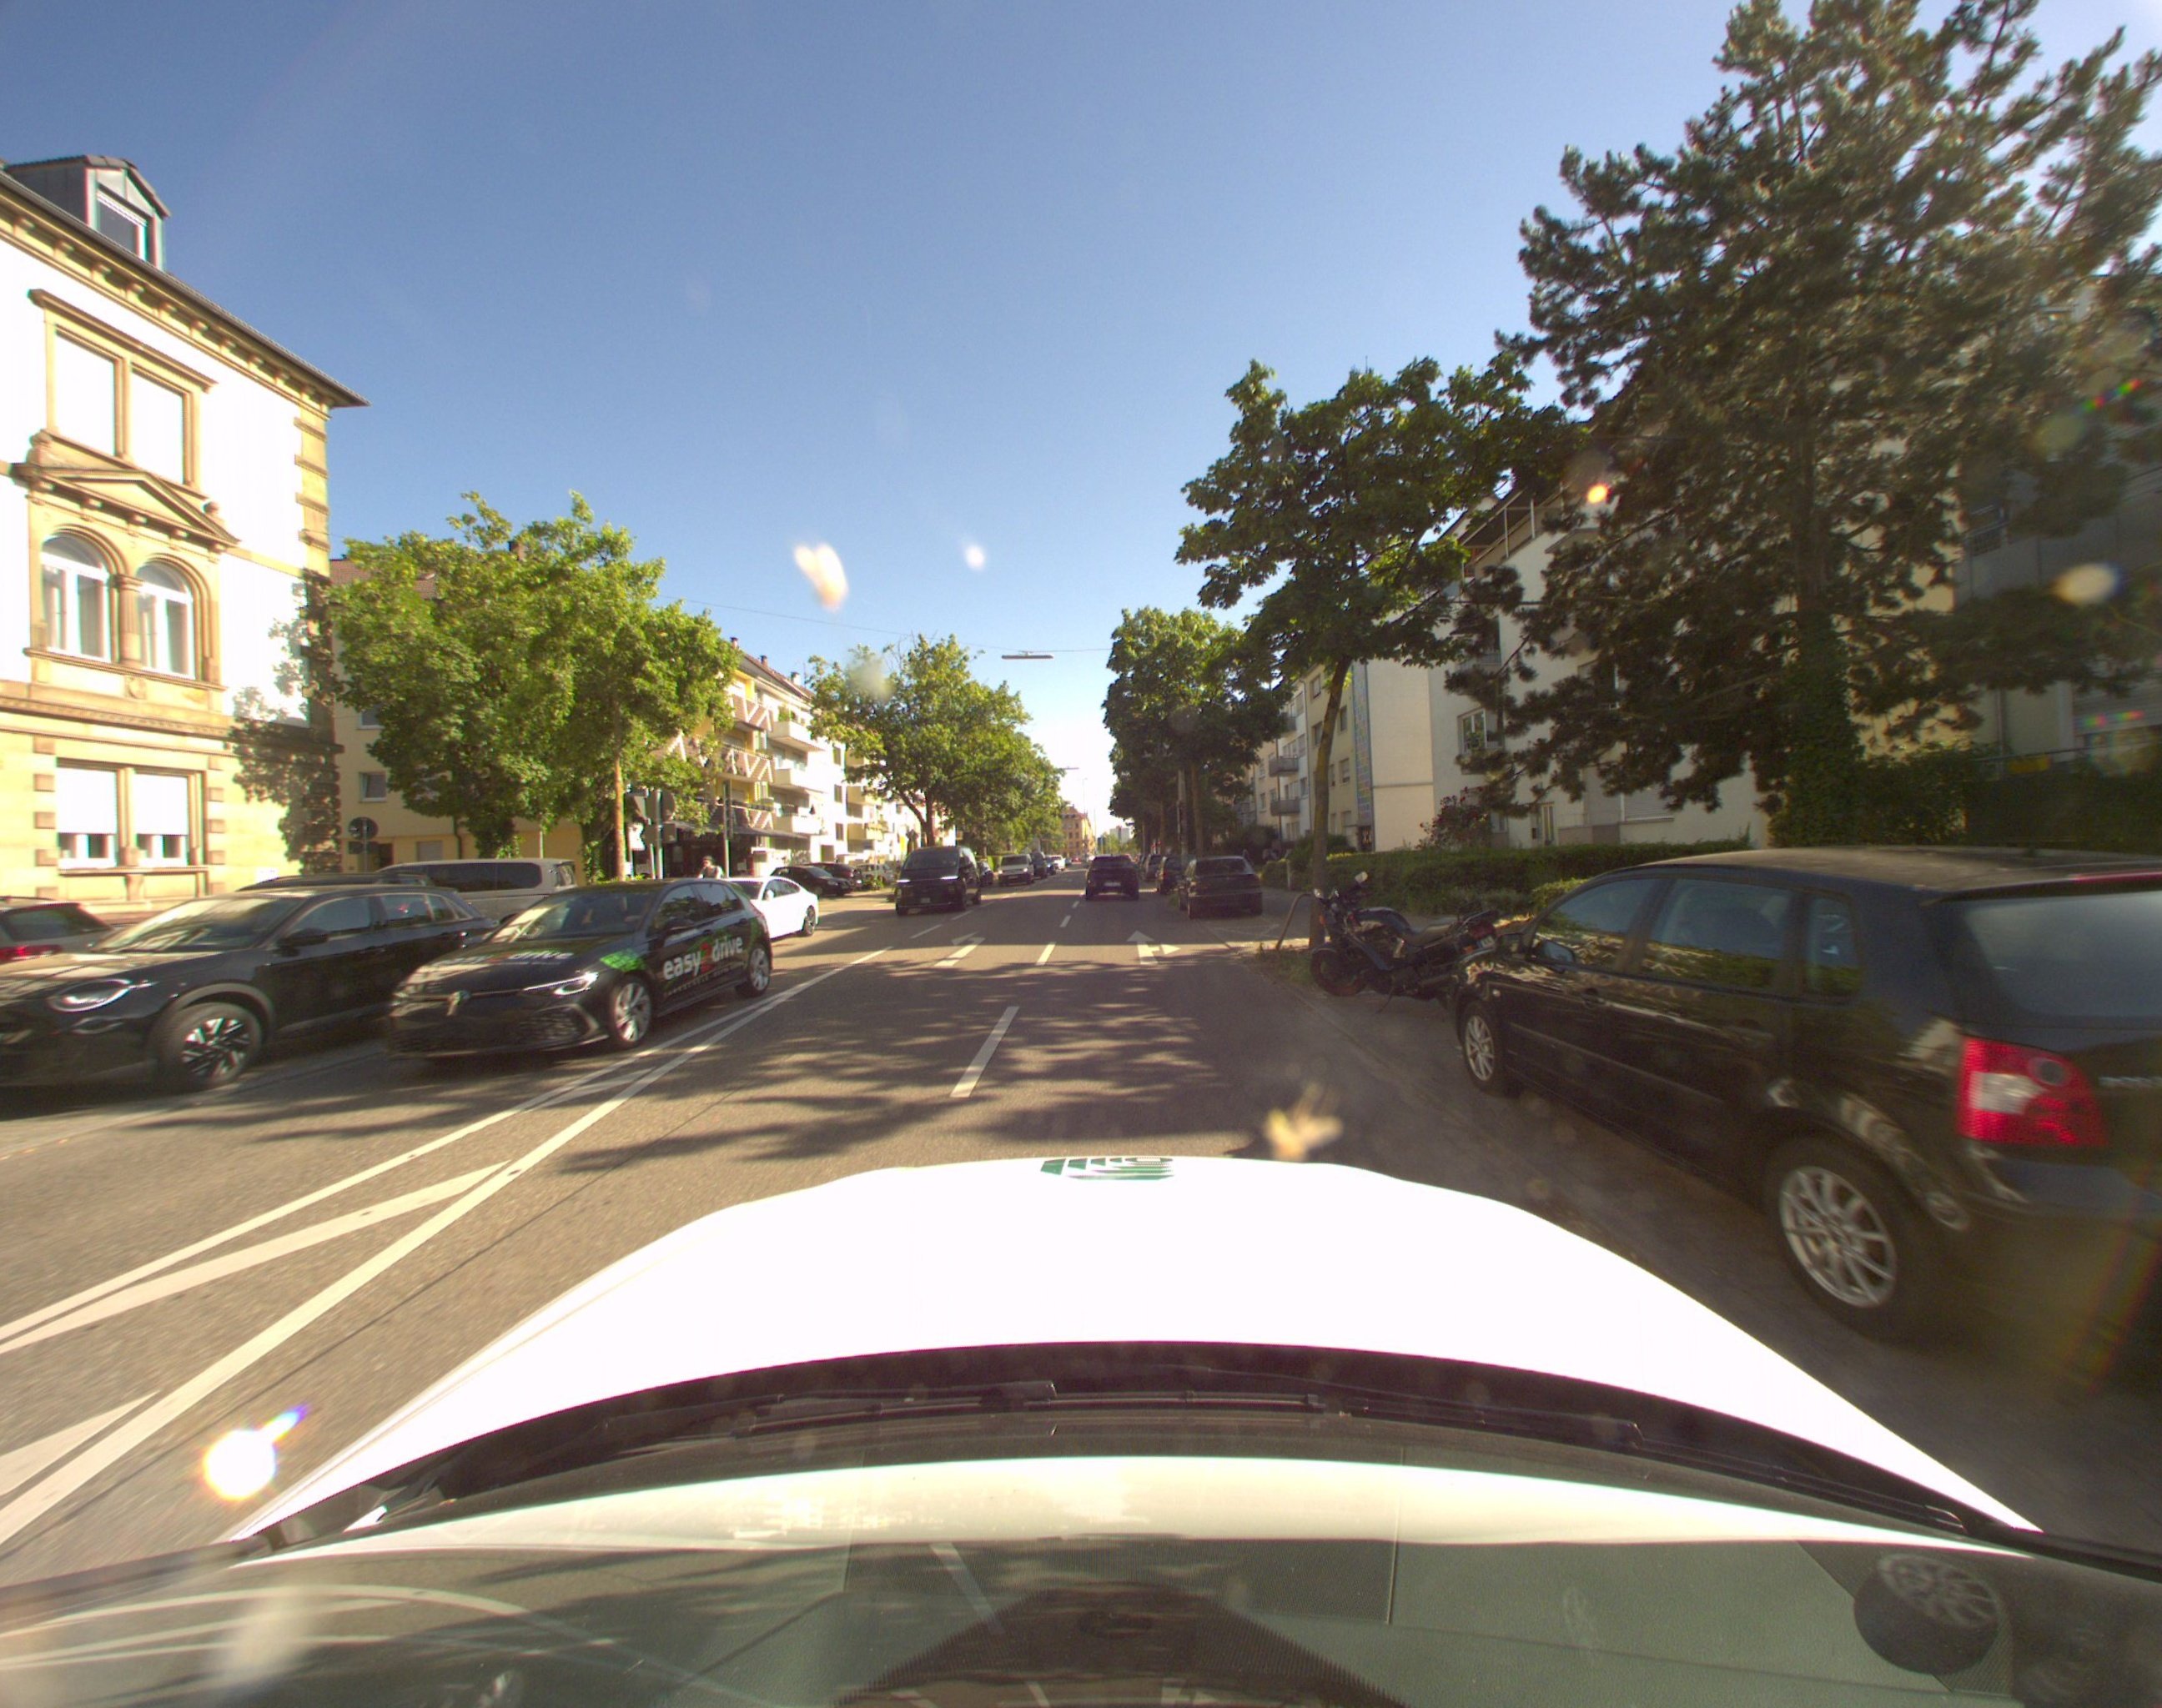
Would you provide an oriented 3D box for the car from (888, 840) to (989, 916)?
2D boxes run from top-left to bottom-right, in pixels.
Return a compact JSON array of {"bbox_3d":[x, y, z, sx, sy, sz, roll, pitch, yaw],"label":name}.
[{"bbox_3d":[-4.254,0.660,25.186,2.009,1.952,5.179,-4,0,1],"label":"car"}]

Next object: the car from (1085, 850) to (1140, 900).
[{"bbox_3d":[1.079,0.687,28.065,1.739,1.573,3.559,-1,0,2],"label":"car"}]

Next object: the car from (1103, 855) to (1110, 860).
[{"bbox_3d":[6.905,0.964,220.076,1.985,1.519,4.004,0,0,3],"label":"car"}]

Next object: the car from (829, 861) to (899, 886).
[{"bbox_3d":[-13.987,1.246,52.617,3.973,1.486,1.881,-1,0,1],"label":"car"}]

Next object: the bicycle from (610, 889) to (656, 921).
[{"bbox_3d":[-15.514,1.756,28.245,0.400,0.960,1.763,-3,1,8],"label":"bicycle"}]

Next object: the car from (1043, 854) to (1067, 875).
[{"bbox_3d":[-2.160,0.857,68.625,1.713,1.566,4.344,-5,0,1],"label":"car"}]

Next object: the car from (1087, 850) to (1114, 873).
[{"bbox_3d":[1.433,0.509,58.885,1.823,1.578,3.842,-2,0,2],"label":"car"}]

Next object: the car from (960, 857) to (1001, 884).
[{"bbox_3d":[-6.031,0.977,49.383,1.715,1.536,4.682,-1,0,2],"label":"car"}]

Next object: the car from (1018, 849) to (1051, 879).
[{"bbox_3d":[-3.273,0.693,57.852,1.796,1.910,4.713,-5,0,2],"label":"car"}]

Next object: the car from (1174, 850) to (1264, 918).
[{"bbox_3d":[3.305,0.660,20.217,1.580,1.396,4.457,-4,0,2],"label":"car"}]

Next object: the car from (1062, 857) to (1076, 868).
[{"bbox_3d":[-1.748,1.195,117.937,1.731,1.381,3.937,-4,0,1],"label":"car"}]

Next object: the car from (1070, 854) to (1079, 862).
[{"bbox_3d":[-1.436,0.875,177.965,1.784,1.617,4.003,-2,0,2],"label":"car"}]

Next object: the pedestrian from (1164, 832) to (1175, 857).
[{"bbox_3d":[6.143,-0.636,56.678,0.667,1.682,0.776,-3,0,1],"label":"pedestrian"}]

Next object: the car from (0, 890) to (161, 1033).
[{"bbox_3d":[-13.516,1.265,9.095,3.929,1.488,1.618,-1,0,-27],"label":"car"}]

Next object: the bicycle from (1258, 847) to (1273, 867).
[{"bbox_3d":[12.592,0.187,55.616,0.620,1.287,1.843,-5,0,2],"label":"bicycle"}]

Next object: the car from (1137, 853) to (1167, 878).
[{"bbox_3d":[4.331,0.676,49.973,1.605,1.383,3.978,-3,0,2],"label":"car"}]

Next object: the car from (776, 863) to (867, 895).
[{"bbox_3d":[-13.028,1.243,40.980,3.962,1.461,1.738,-1,0,10],"label":"car"}]

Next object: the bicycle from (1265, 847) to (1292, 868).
[{"bbox_3d":[13.080,0.230,53.961,1.520,1.222,0.466,-5,0,32],"label":"bicycle"}]

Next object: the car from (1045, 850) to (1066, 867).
[{"bbox_3d":[-2.594,0.446,83.529,1.800,1.648,4.673,-4,0,1],"label":"car"}]

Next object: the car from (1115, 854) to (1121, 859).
[{"bbox_3d":[11.123,0.810,244.879,1.985,1.519,4.004,0,0,3],"label":"car"}]

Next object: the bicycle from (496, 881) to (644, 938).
[{"bbox_3d":[-13.217,1.408,21.196,3.187,1.262,0.942,-1,-2,-33],"label":"bicycle"}]

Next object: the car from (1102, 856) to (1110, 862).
[{"bbox_3d":[6.412,1.247,206.026,1.802,1.407,4.005,-2,0,4],"label":"car"}]

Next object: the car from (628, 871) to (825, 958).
[{"bbox_3d":[-7.023,1.118,16.794,1.827,1.389,4.804,-1,0,1],"label":"car"}]

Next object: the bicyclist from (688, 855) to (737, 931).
[{"bbox_3d":[-9.247,0.950,20.473,0.656,1.824,1.055,-3,0,2],"label":"bicyclist"}]

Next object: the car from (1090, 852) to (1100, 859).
[{"bbox_3d":[3.009,0.347,174.420,1.764,1.452,3.888,-2,0,3],"label":"car"}]

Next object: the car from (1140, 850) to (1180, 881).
[{"bbox_3d":[4.216,0.590,44.096,1.708,1.489,4.234,-3,0,0],"label":"car"}]

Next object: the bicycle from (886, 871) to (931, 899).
[{"bbox_3d":[-7.054,1.259,33.241,1.912,1.135,0.465,-1,0,29],"label":"bicycle"}]

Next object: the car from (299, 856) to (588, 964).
[{"bbox_3d":[-12.892,1.046,16.860,4.334,1.879,1.865,-1,0,-24],"label":"car"}]

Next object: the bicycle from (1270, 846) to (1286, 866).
[{"bbox_3d":[13.383,0.122,55.320,0.589,1.287,1.690,-5,0,2],"label":"bicycle"}]

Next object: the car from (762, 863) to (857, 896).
[{"bbox_3d":[-12.816,1.204,38.477,3.954,1.456,1.742,-1,0,19],"label":"car"}]

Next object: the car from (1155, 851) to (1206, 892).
[{"bbox_3d":[3.769,0.627,31.329,1.684,1.428,4.152,-3,0,4],"label":"car"}]

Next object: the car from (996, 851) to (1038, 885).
[{"bbox_3d":[-3.617,0.790,46.869,1.809,1.743,4.494,-4,0,1],"label":"car"}]

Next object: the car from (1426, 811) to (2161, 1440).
[{"bbox_3d":[3.128,0.636,3.786,1.613,1.499,3.652,-3,0,3],"label":"car"}]

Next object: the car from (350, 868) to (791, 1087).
[{"bbox_3d":[-4.624,0.978,8.277,1.685,1.453,4.174,-5,0,1],"label":"car"}]

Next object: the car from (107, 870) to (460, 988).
[{"bbox_3d":[-13.329,1.179,13.954,3.924,1.644,1.667,-1,0,-23],"label":"car"}]

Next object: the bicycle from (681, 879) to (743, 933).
[{"bbox_3d":[-9.216,1.265,20.436,0.446,1.193,2.193,-3,0,2],"label":"bicycle"}]

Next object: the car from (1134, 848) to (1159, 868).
[{"bbox_3d":[5.216,0.314,65.284,1.554,1.515,3.654,-4,0,0],"label":"car"}]

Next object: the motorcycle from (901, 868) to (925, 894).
[{"bbox_3d":[-7.778,1.235,37.803,0.458,1.125,1.722,-1,0,10],"label":"motorcycle"}]

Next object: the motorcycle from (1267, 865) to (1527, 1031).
[{"bbox_3d":[2.846,0.780,7.718,0.701,1.271,2.411,-4,0,-26],"label":"motorcycle"}]
